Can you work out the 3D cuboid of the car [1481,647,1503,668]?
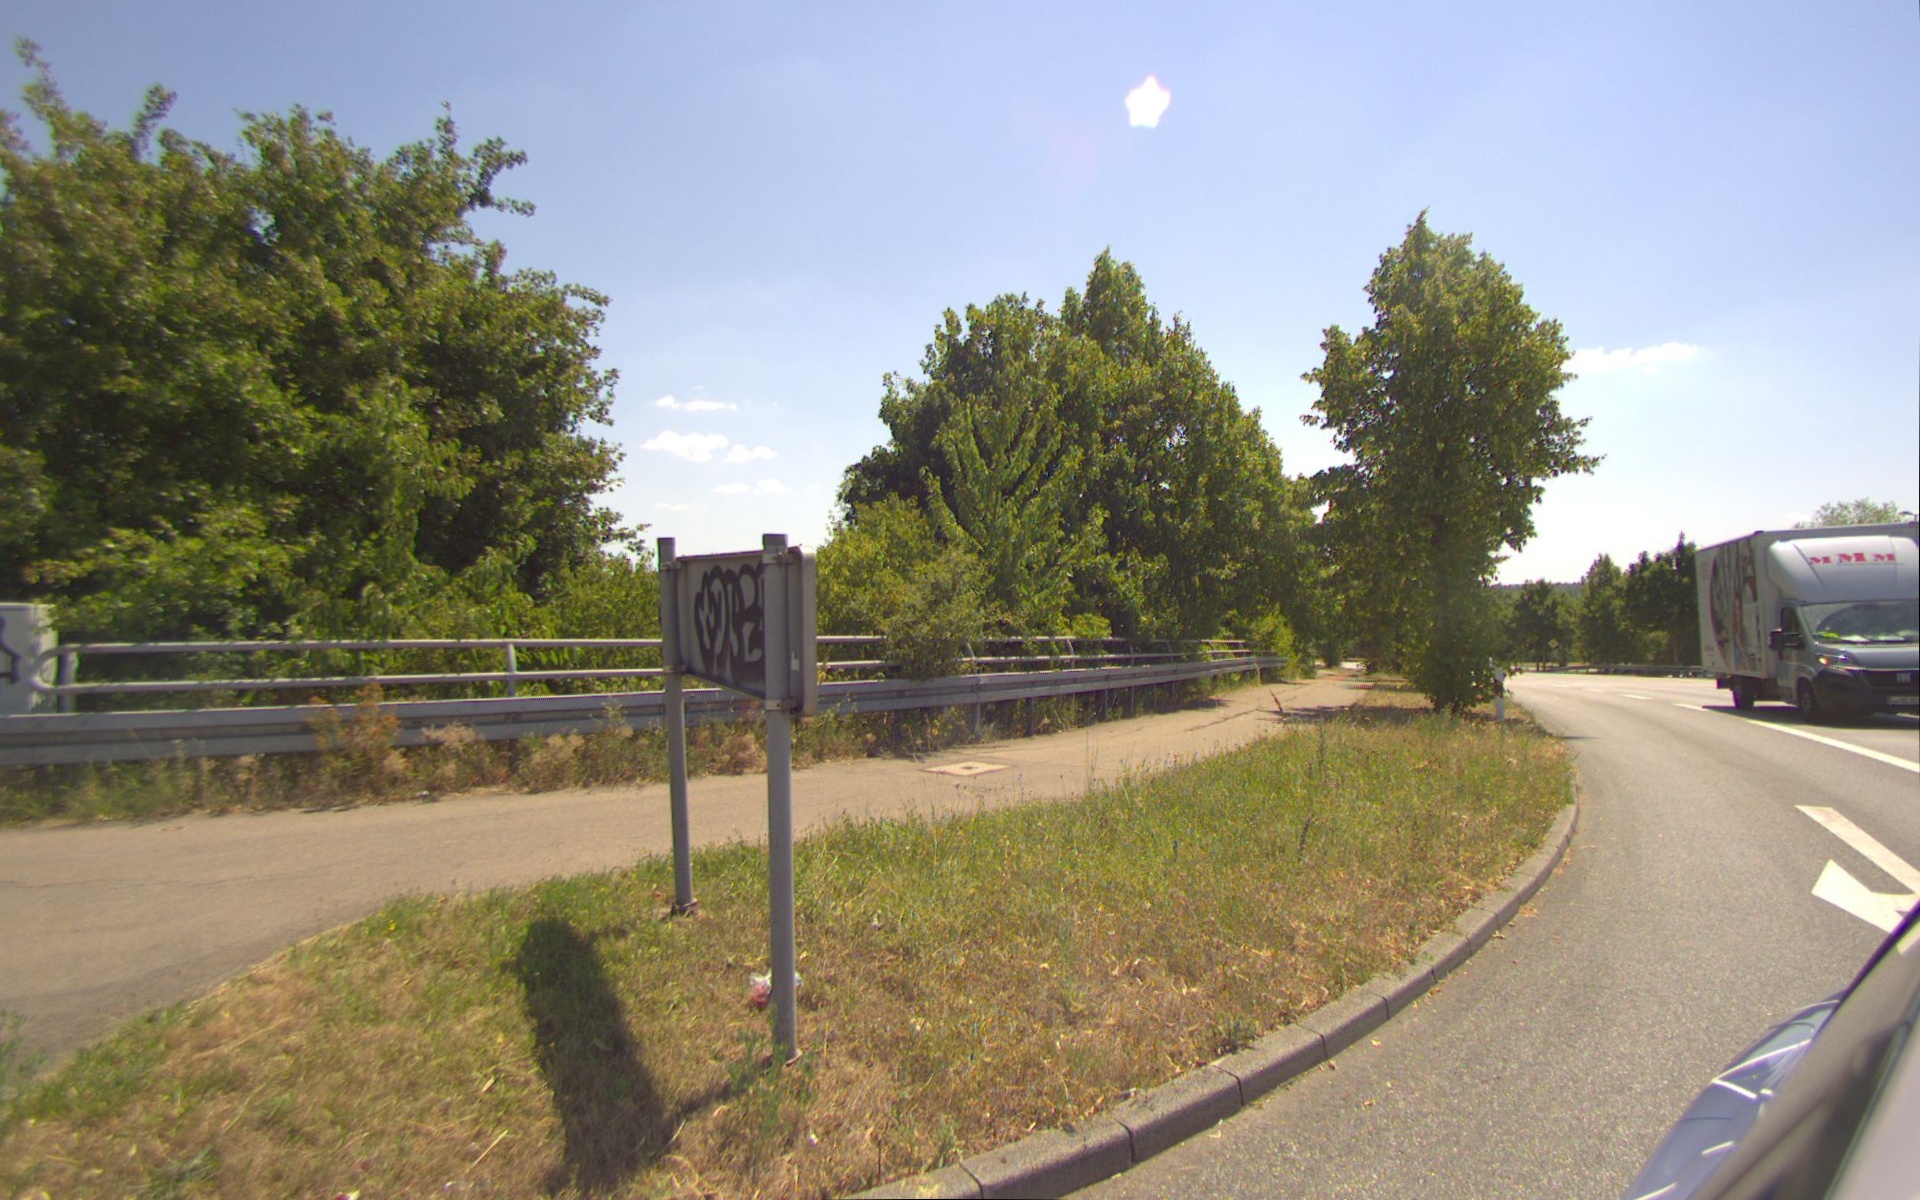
[{"bbox_3d":[55.842,6.022,106.167,1.981,1.986,3.960,-1,-1,28],"label":"car"}]

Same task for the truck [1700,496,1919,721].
[{"bbox_3d":[15.925,0.272,18.524,2.390,3.391,7.137,-1,-3,25],"label":"truck"}]
